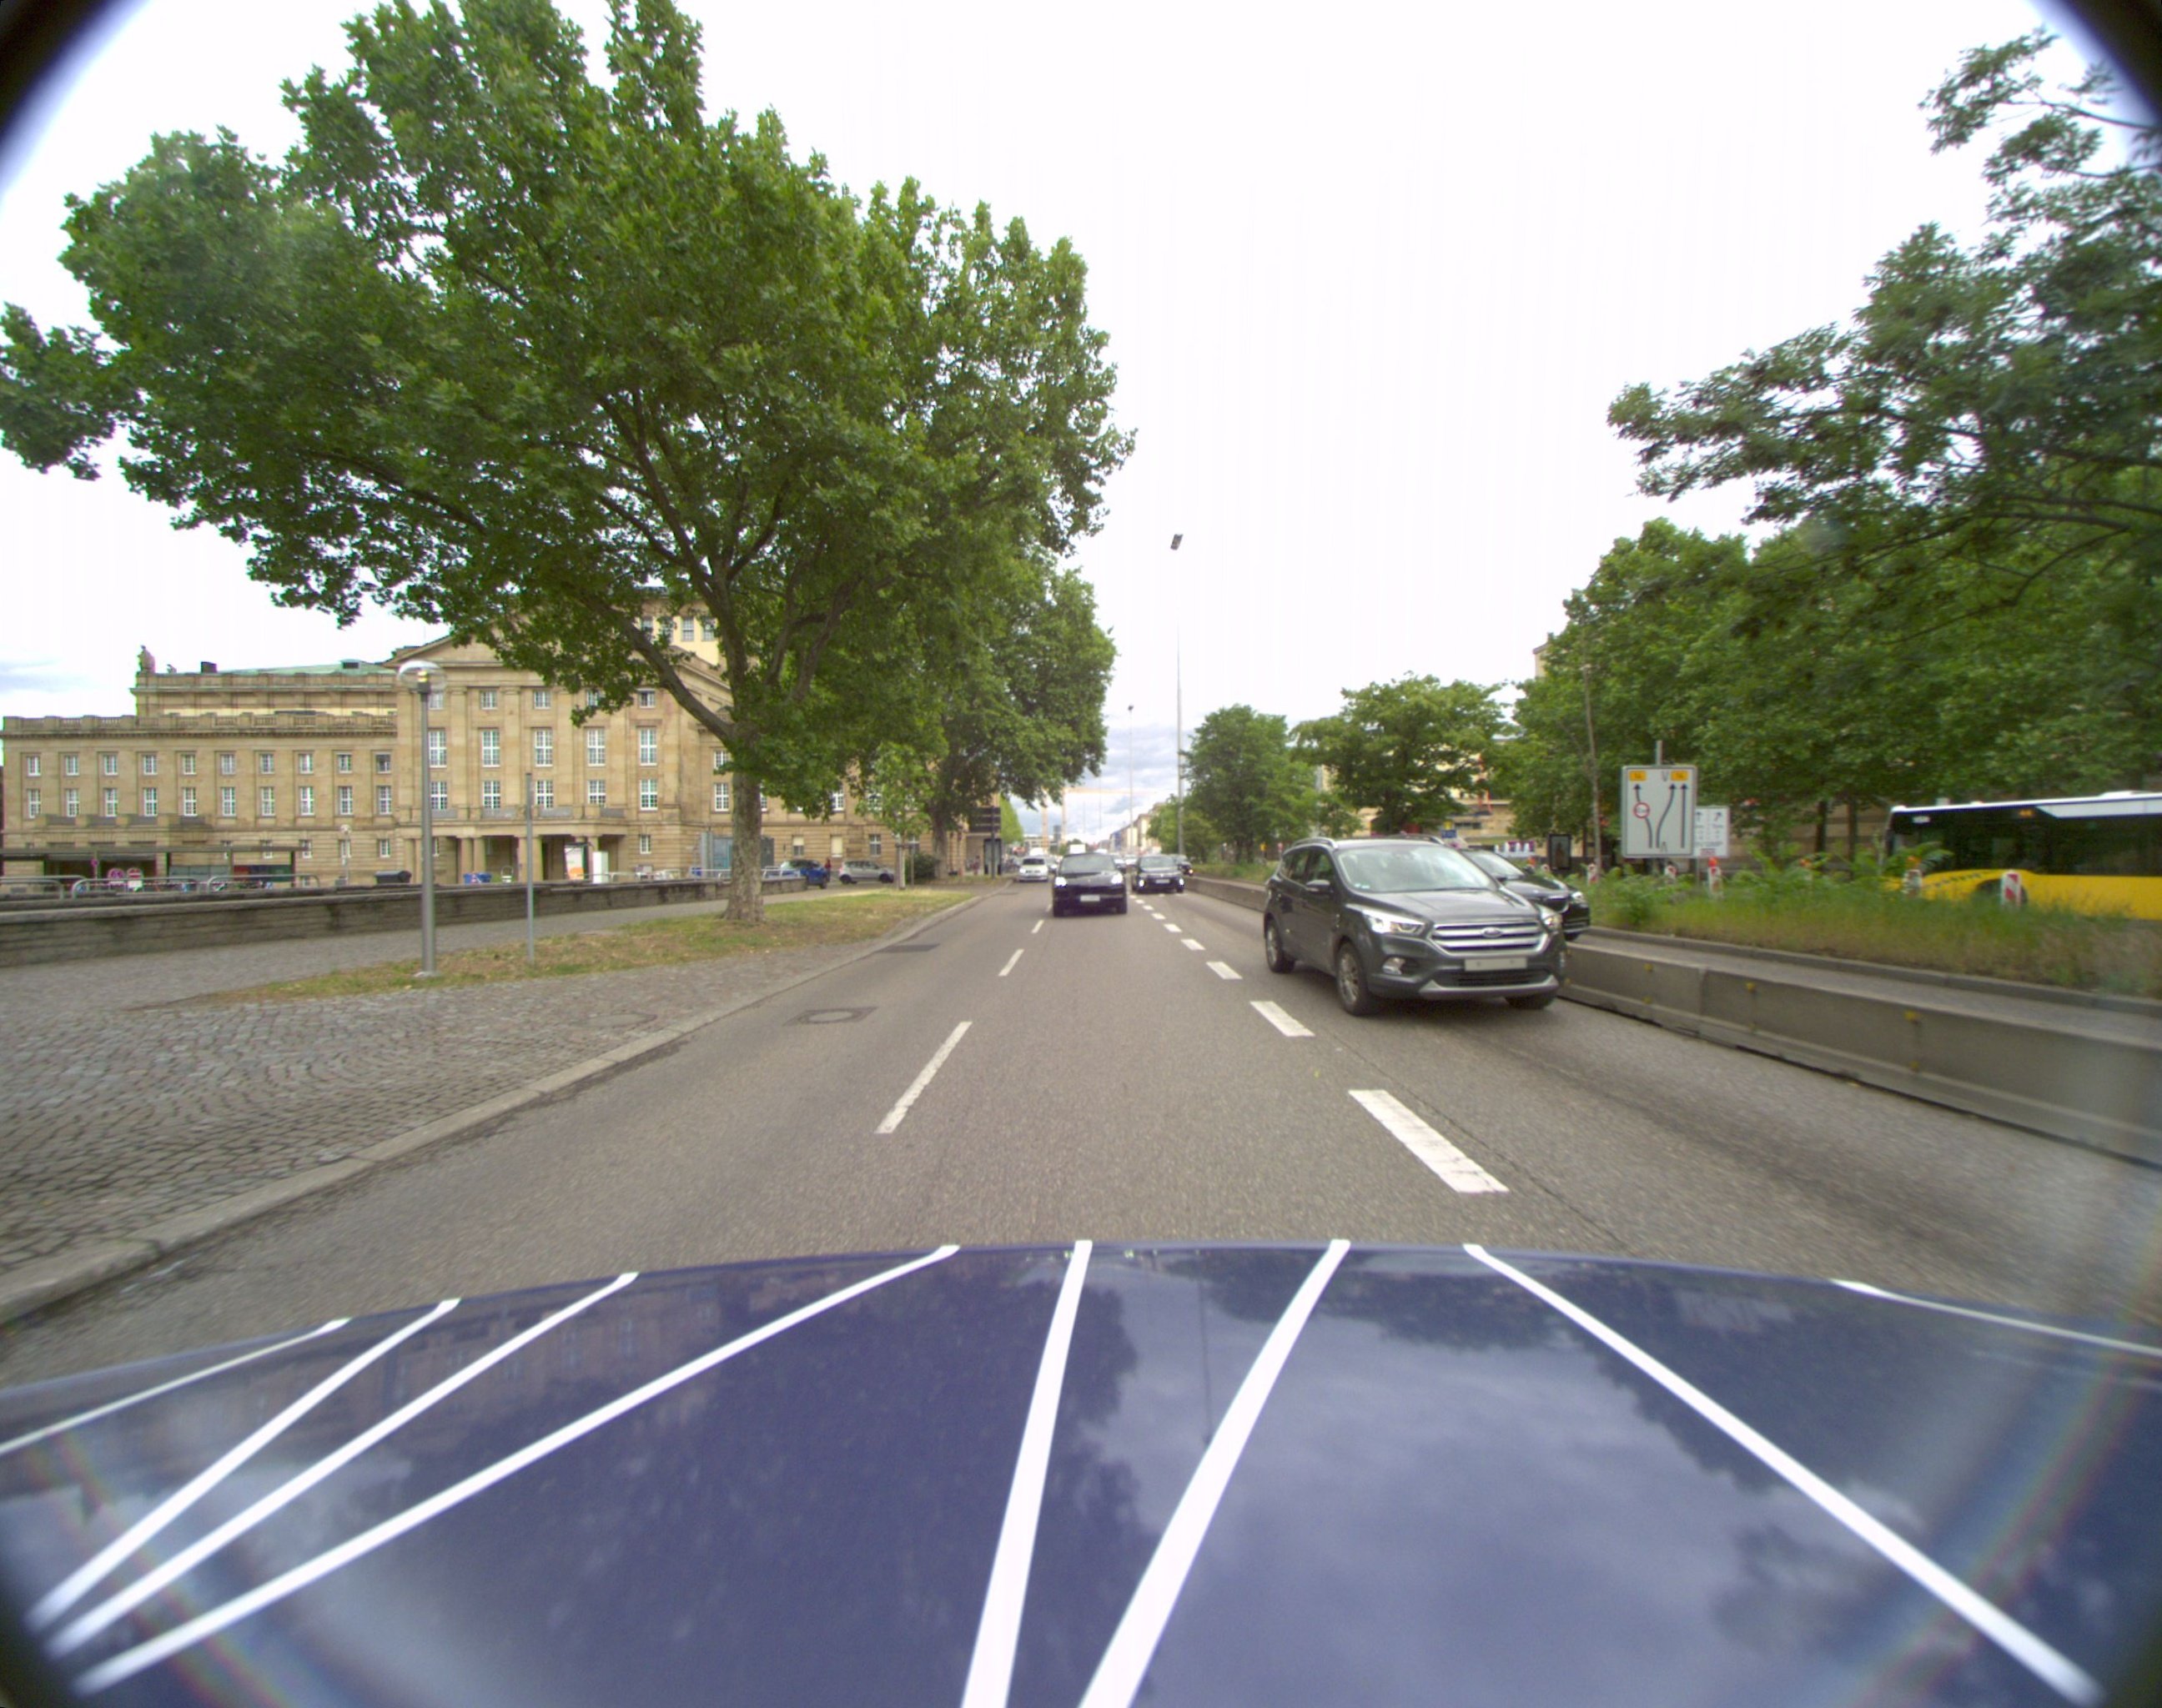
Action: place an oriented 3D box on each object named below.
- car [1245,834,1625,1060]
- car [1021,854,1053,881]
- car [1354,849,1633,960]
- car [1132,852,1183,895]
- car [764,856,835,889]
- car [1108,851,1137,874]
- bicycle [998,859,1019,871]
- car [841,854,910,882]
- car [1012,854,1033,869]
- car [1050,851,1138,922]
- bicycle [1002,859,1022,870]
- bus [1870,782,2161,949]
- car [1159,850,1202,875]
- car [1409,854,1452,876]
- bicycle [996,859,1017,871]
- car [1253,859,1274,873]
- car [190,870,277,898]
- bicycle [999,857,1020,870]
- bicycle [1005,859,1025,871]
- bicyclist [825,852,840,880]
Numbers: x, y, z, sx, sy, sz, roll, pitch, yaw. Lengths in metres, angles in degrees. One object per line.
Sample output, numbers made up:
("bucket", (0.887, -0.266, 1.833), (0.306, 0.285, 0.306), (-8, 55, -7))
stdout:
("car", (3.285, 0.741, 8.291), (1.898, 1.705, 4.658), (-2, 0, -1))
("car", (-2.781, 0.840, 48.812), (1.695, 1.585, 4.000), (2, 1, 2))
("car", (6.476, 0.685, 12.727), (1.999, 1.474, 4.808), (-1, 0, -1))
("car", (3.023, 0.716, 30.600), (1.767, 1.507, 4.152), (-2, 1, 2))
("car", (-13.813, 0.896, 37.526), (1.768, 1.508, 4.219), (-1, -1, 2))
("car", (3.167, 0.596, 58.938), (1.998, 1.607, 4.737), (-1, 1, 0))
("bicycle", (-6.681, 1.026, 69.772), (1.841, 1.066, 0.618), (-1, 0, -8))
("car", (-13.506, 0.926, 50.097), (3.997, 1.587, 1.734), (-3, 1, 0))
("car", (-6.335, 0.799, 82.840), (1.843, 1.522, 4.000), (-1, 1, 2))
("car", (0.237, 0.820, 21.478), (2.062, 1.616, 4.599), (-4, 1, -3))
("bicycle", (-6.497, 0.988, 71.628), (1.843, 1.066, 0.531), (-1, 1, -20))
("bus", (22.760, 0.208, 15.252), (2.920, 3.286, 10.448), (-1, 0, -1))
("car", (6.241, 0.541, 48.326), (1.999, 1.474, 4.808), (-1, 0, -1))
("car", (22.792, 0.687, 49.667), (1.356, 1.281, 3.055), (-3, 1, -1))
("bicycle", (-6.793, 1.006, 69.095), (1.919, 1.092, 0.541), (-1, 1, -8))
("car", (20.307, 1.312, 84.541), (1.356, 1.281, 3.736), (-3, 1, -1))
("car", (-61.967, 2.162, 55.604), (3.997, 1.707, 2.000), (-3, 1, 0))
("bicycle", (-6.877, 0.917, 73.134), (1.939, 1.126, 0.540), (-1, 1, -20))
("bicycle", (-6.148, 0.994, 70.856), (1.841, 1.066, 0.532), (-1, 1, -9))
("bicyclist", (-18.301, 0.883, 55.954), (0.879, 2.002, 0.842), (-4, 2, -26))
